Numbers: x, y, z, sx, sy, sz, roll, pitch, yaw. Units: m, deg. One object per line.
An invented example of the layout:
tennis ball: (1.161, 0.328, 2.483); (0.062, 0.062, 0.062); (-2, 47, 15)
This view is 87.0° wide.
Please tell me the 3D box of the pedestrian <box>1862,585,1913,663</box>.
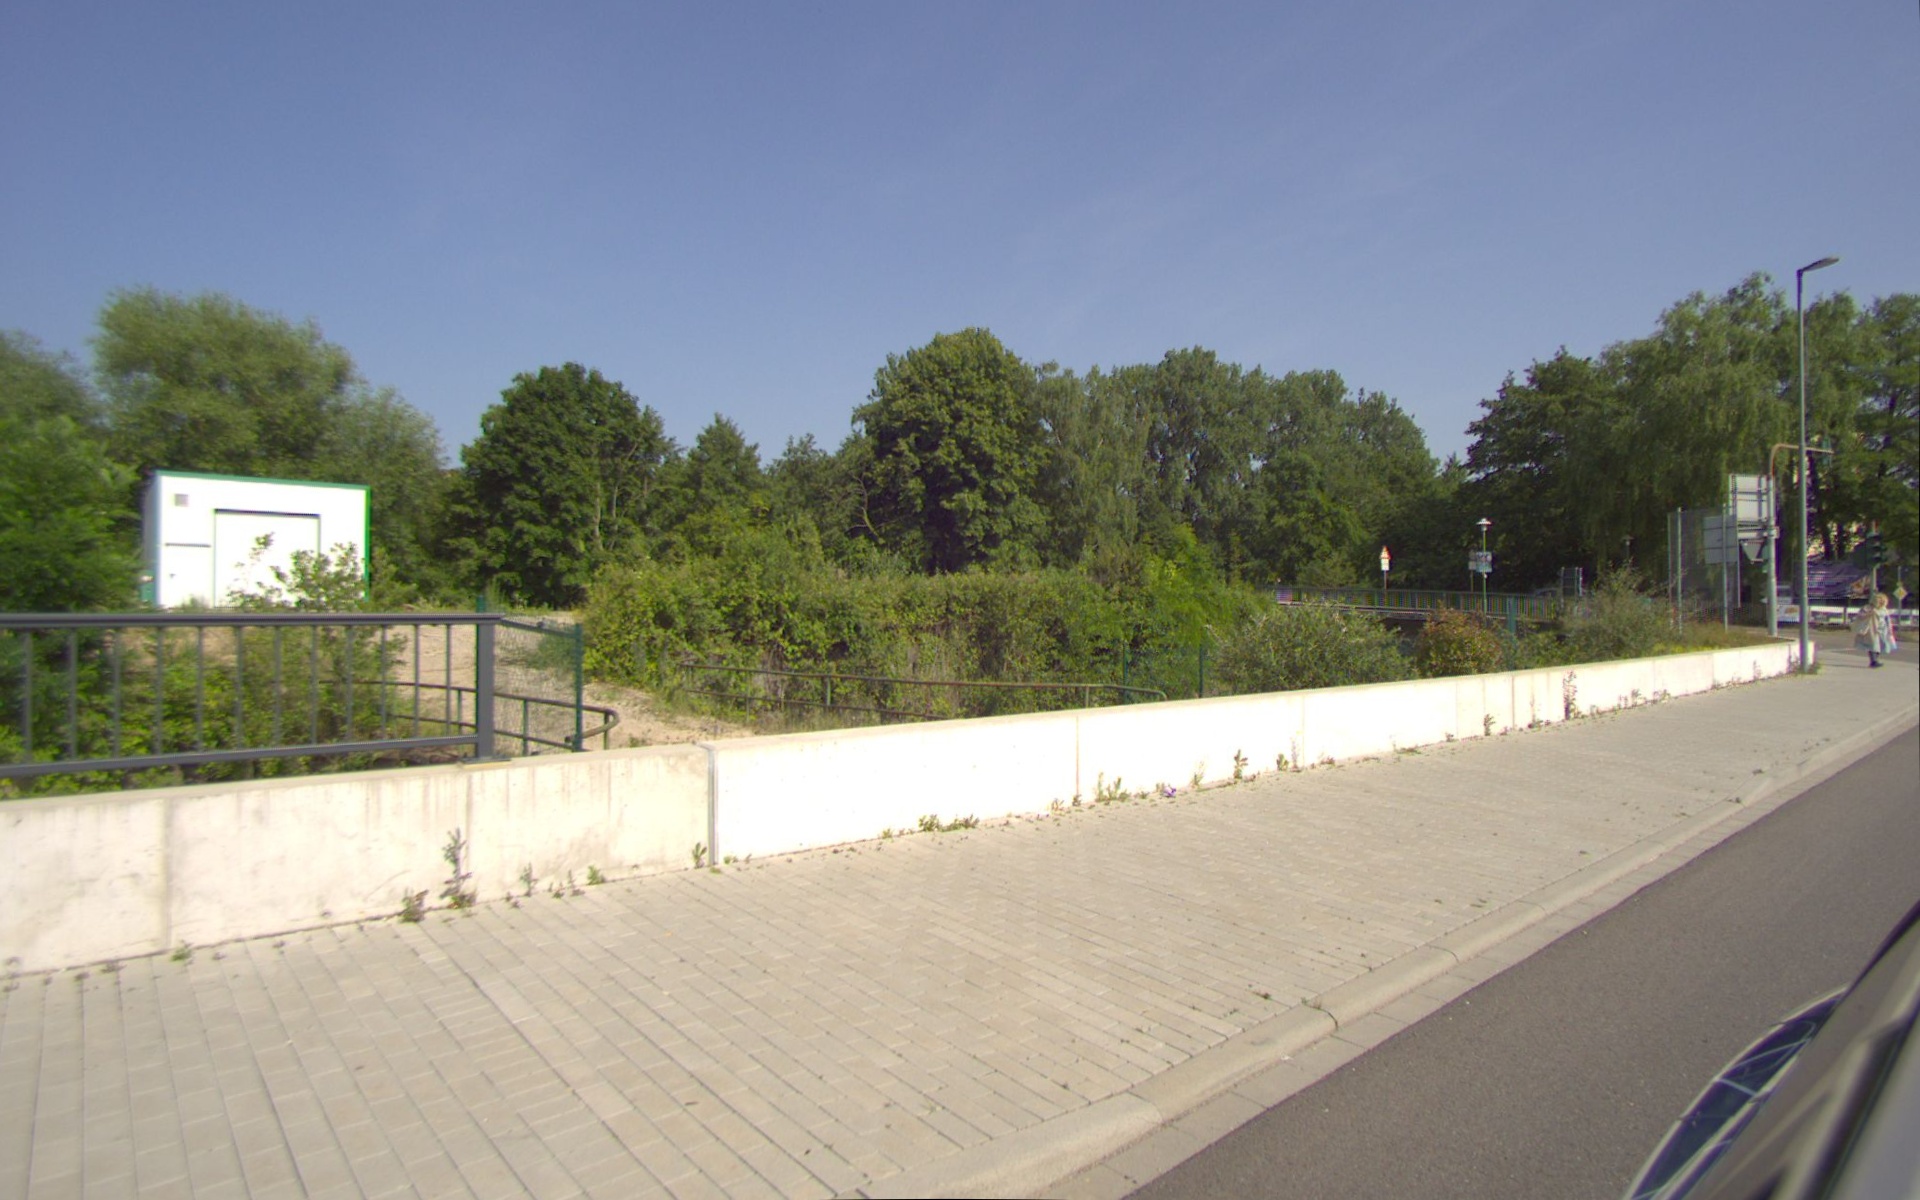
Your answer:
pedestrian: (20.466, 0.511, 22.345); (0.707, 1.692, 0.586); (0, 0, 32)

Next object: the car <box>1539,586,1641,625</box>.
car: (26.887, 0.194, 43.367); (1.635, 1.537, 4.088); (1, 2, -3)
